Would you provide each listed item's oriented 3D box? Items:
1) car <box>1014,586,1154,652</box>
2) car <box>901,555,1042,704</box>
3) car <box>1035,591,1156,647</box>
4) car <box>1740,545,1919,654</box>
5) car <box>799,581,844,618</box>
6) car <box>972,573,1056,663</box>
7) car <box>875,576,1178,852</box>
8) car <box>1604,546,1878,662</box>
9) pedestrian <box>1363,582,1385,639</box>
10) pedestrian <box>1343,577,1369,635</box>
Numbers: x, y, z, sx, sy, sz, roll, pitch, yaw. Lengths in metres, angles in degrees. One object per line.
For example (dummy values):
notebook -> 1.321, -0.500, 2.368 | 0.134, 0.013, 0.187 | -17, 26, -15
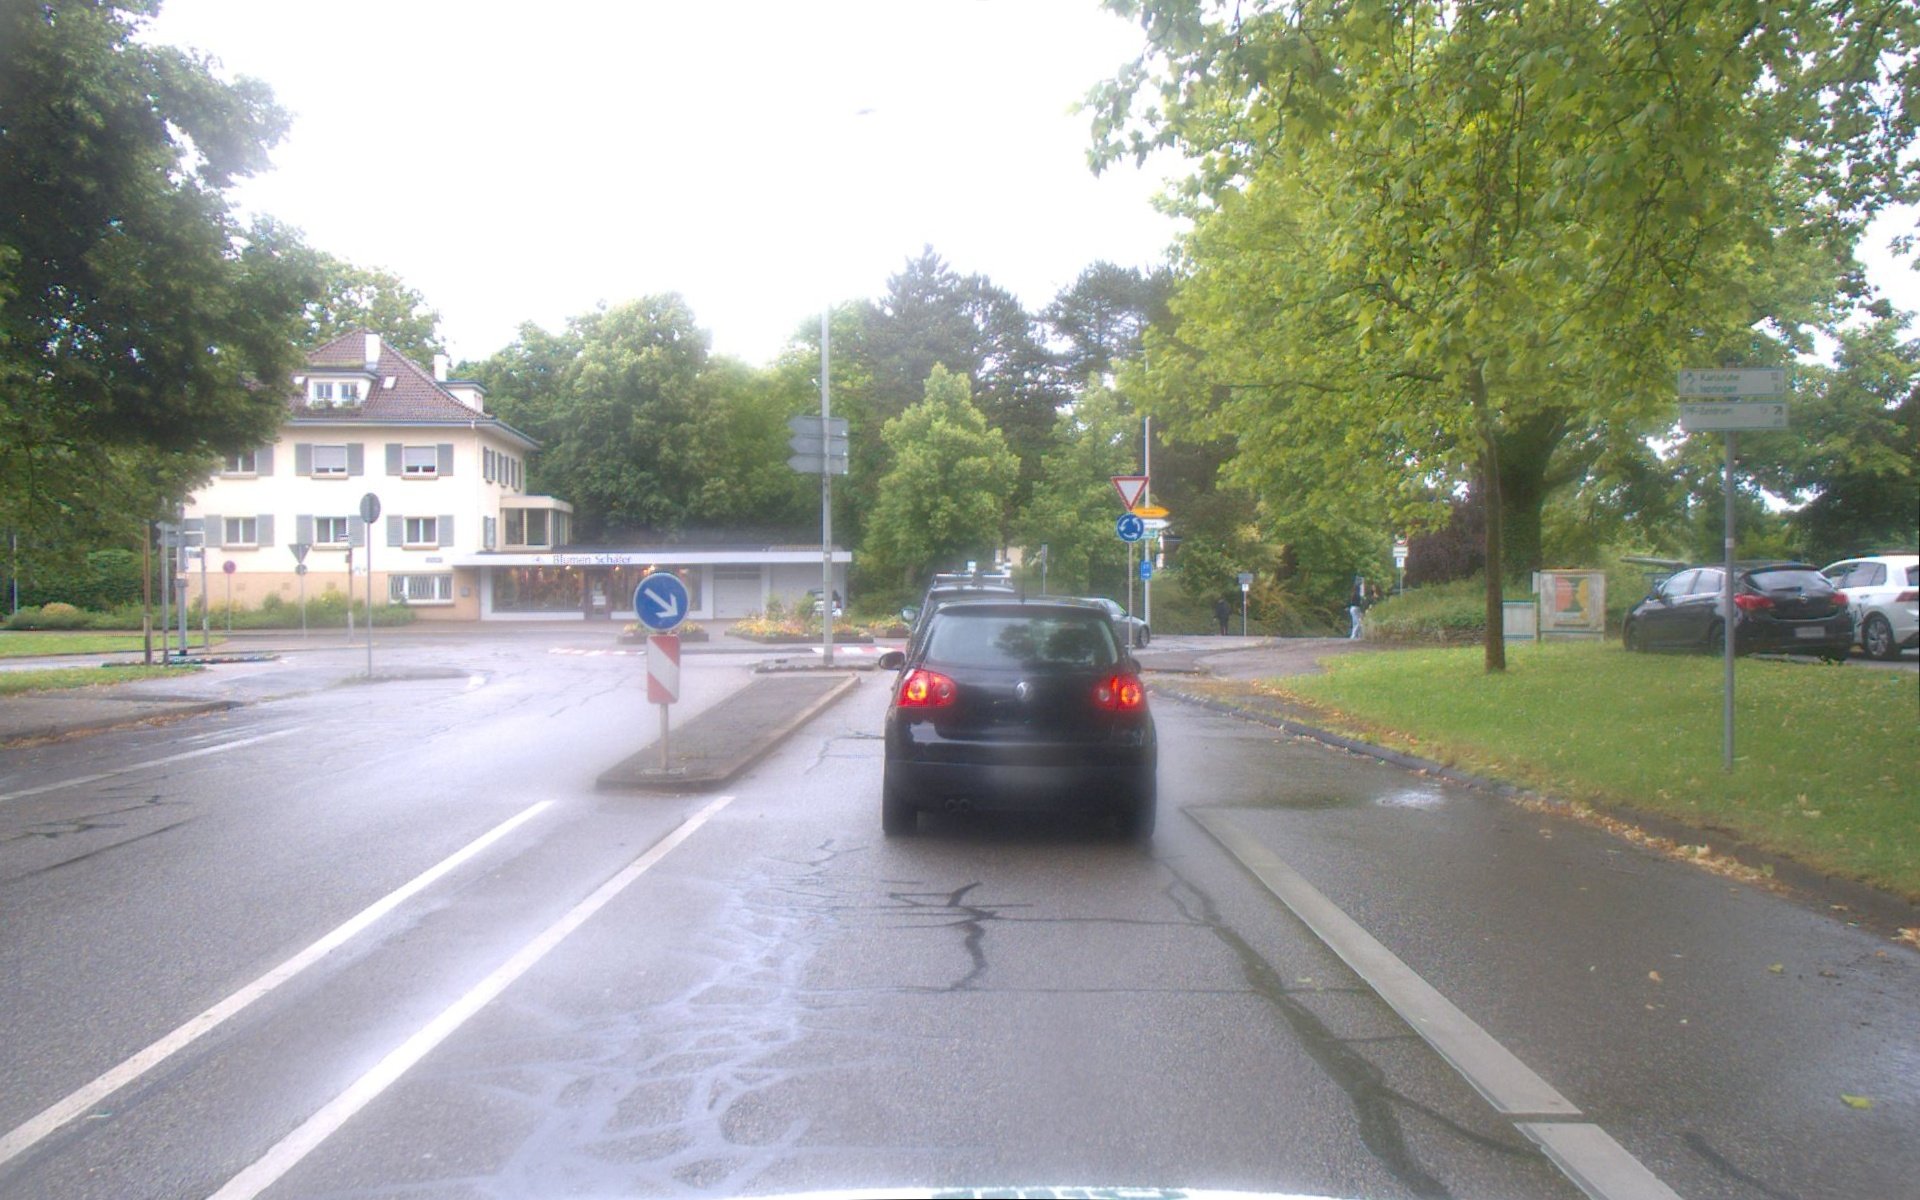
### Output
car -> 3.451, 0.520, 45.501 | 1.961, 1.713, 4.015 | 1, -1, 37
car -> 0.071, 0.380, 23.009 | 1.729, 1.833, 4.244 | -1, 0, -2
car -> 4.434, 0.601, 54.706 | 1.974, 1.772, 4.099 | 1, 0, -32
car -> 13.884, -0.021, 25.072 | 1.809, 1.497, 4.423 | -2, 0, -3
car -> -6.114, -0.035, 72.667 | 1.778, 1.512, 3.824 | -2, 0, -8
car -> 1.196, 0.383, 36.737 | 1.728, 1.833, 4.247 | -1, 0, 2
car -> 0.475, 0.636, 11.570 | 1.728, 1.565, 4.002 | 1, 1, 3
car -> 11.485, 0.061, 24.733 | 1.729, 1.497, 4.596 | -2, 0, -2
pedestrian -> 12.838, 0.333, 51.320 | 0.620, 1.743, 0.530 | 1, -1, 15
pedestrian -> 12.180, 0.189, 50.827 | 0.519, 1.743, 0.633 | 1, -1, -15
